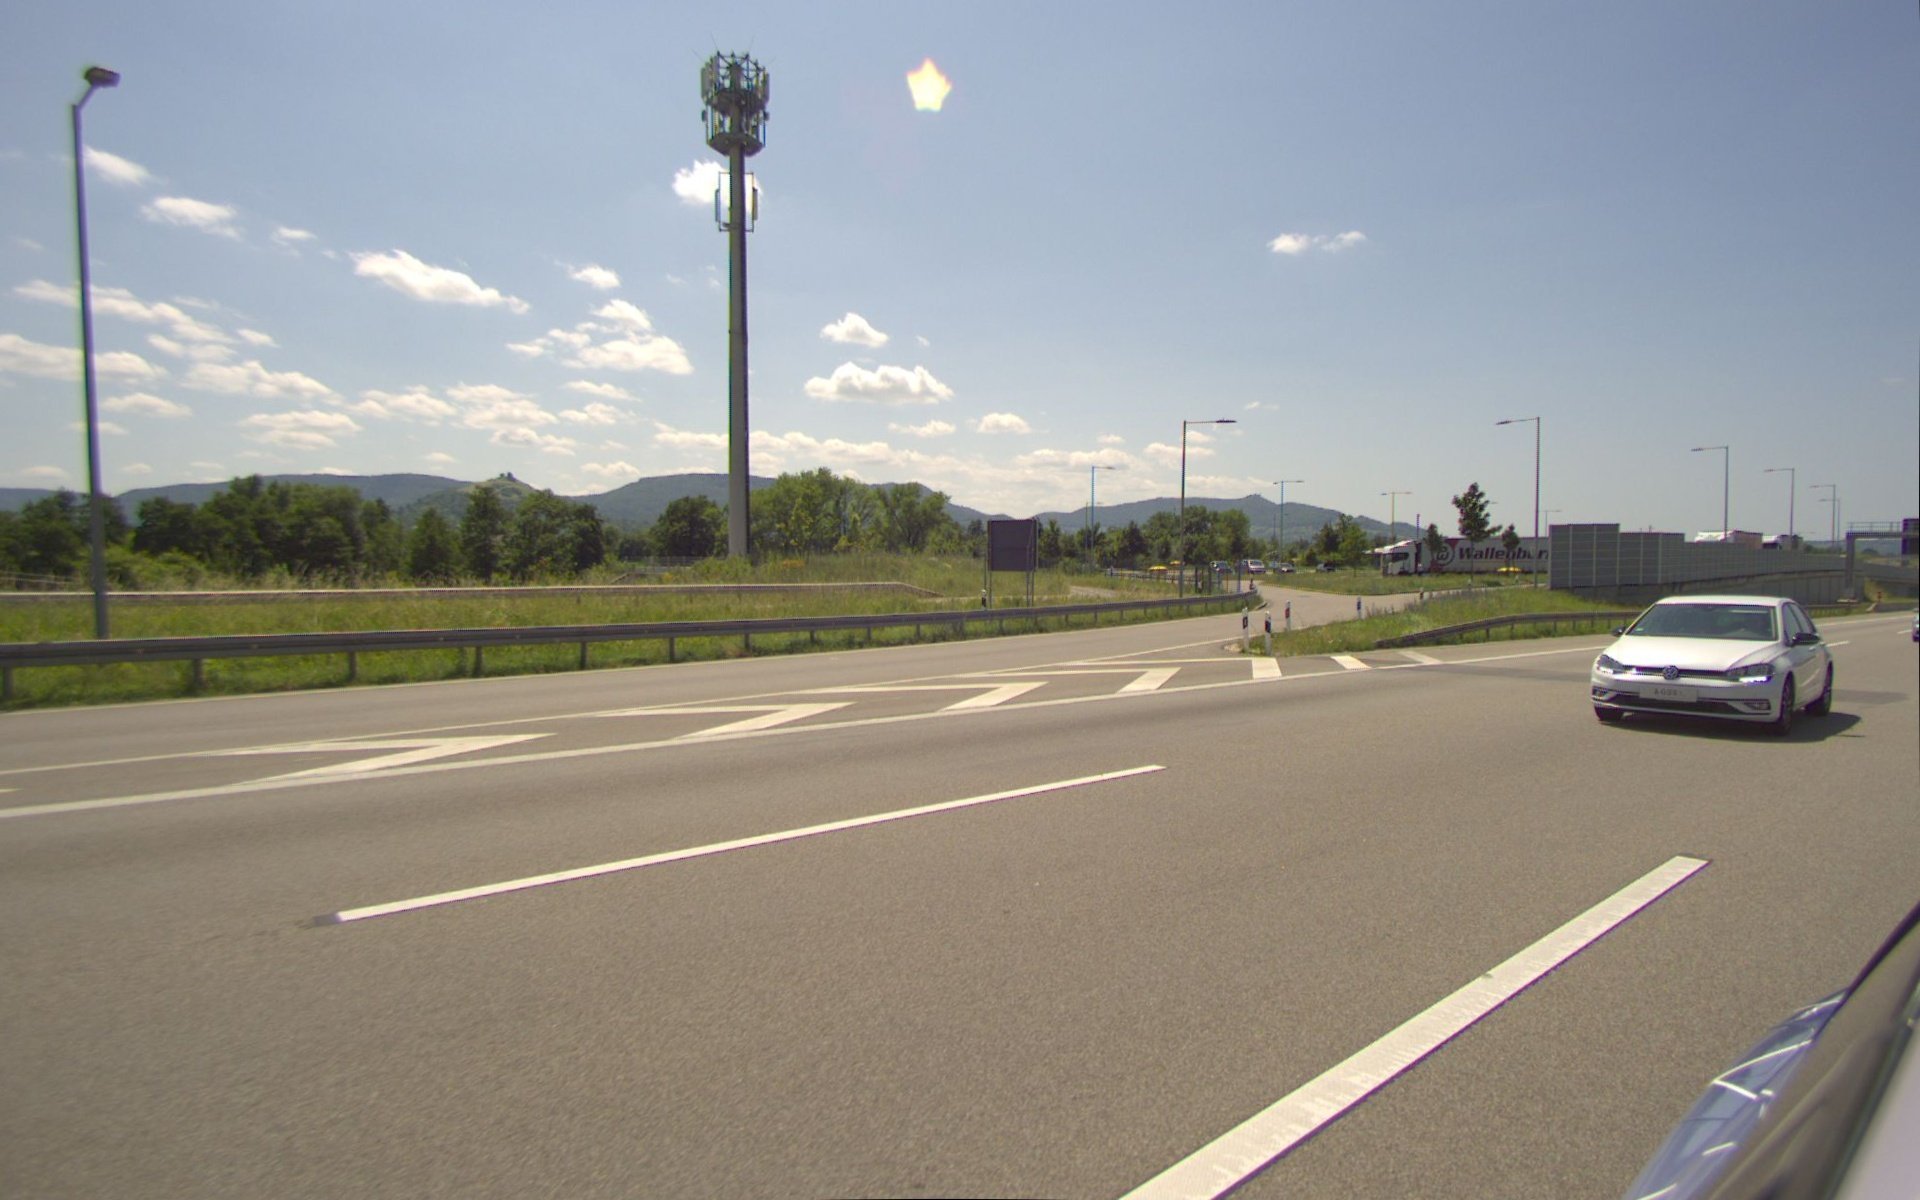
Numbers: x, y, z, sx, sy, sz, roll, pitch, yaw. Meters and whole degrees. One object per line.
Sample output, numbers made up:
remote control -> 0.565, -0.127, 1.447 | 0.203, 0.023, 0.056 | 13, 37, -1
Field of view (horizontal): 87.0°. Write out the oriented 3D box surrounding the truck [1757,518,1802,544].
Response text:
truck -> 83.396, -6.986, 102.919 | 5.934, 2.258, 2.726 | -1, 1, -43

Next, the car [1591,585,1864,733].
car -> 9.375, 0.552, 12.208 | 4.610, 1.451, 1.778 | -1, 1, -42

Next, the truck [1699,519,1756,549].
truck -> 65.747, -5.597, 86.645 | 7.165, 2.232, 2.710 | -1, 1, -43
